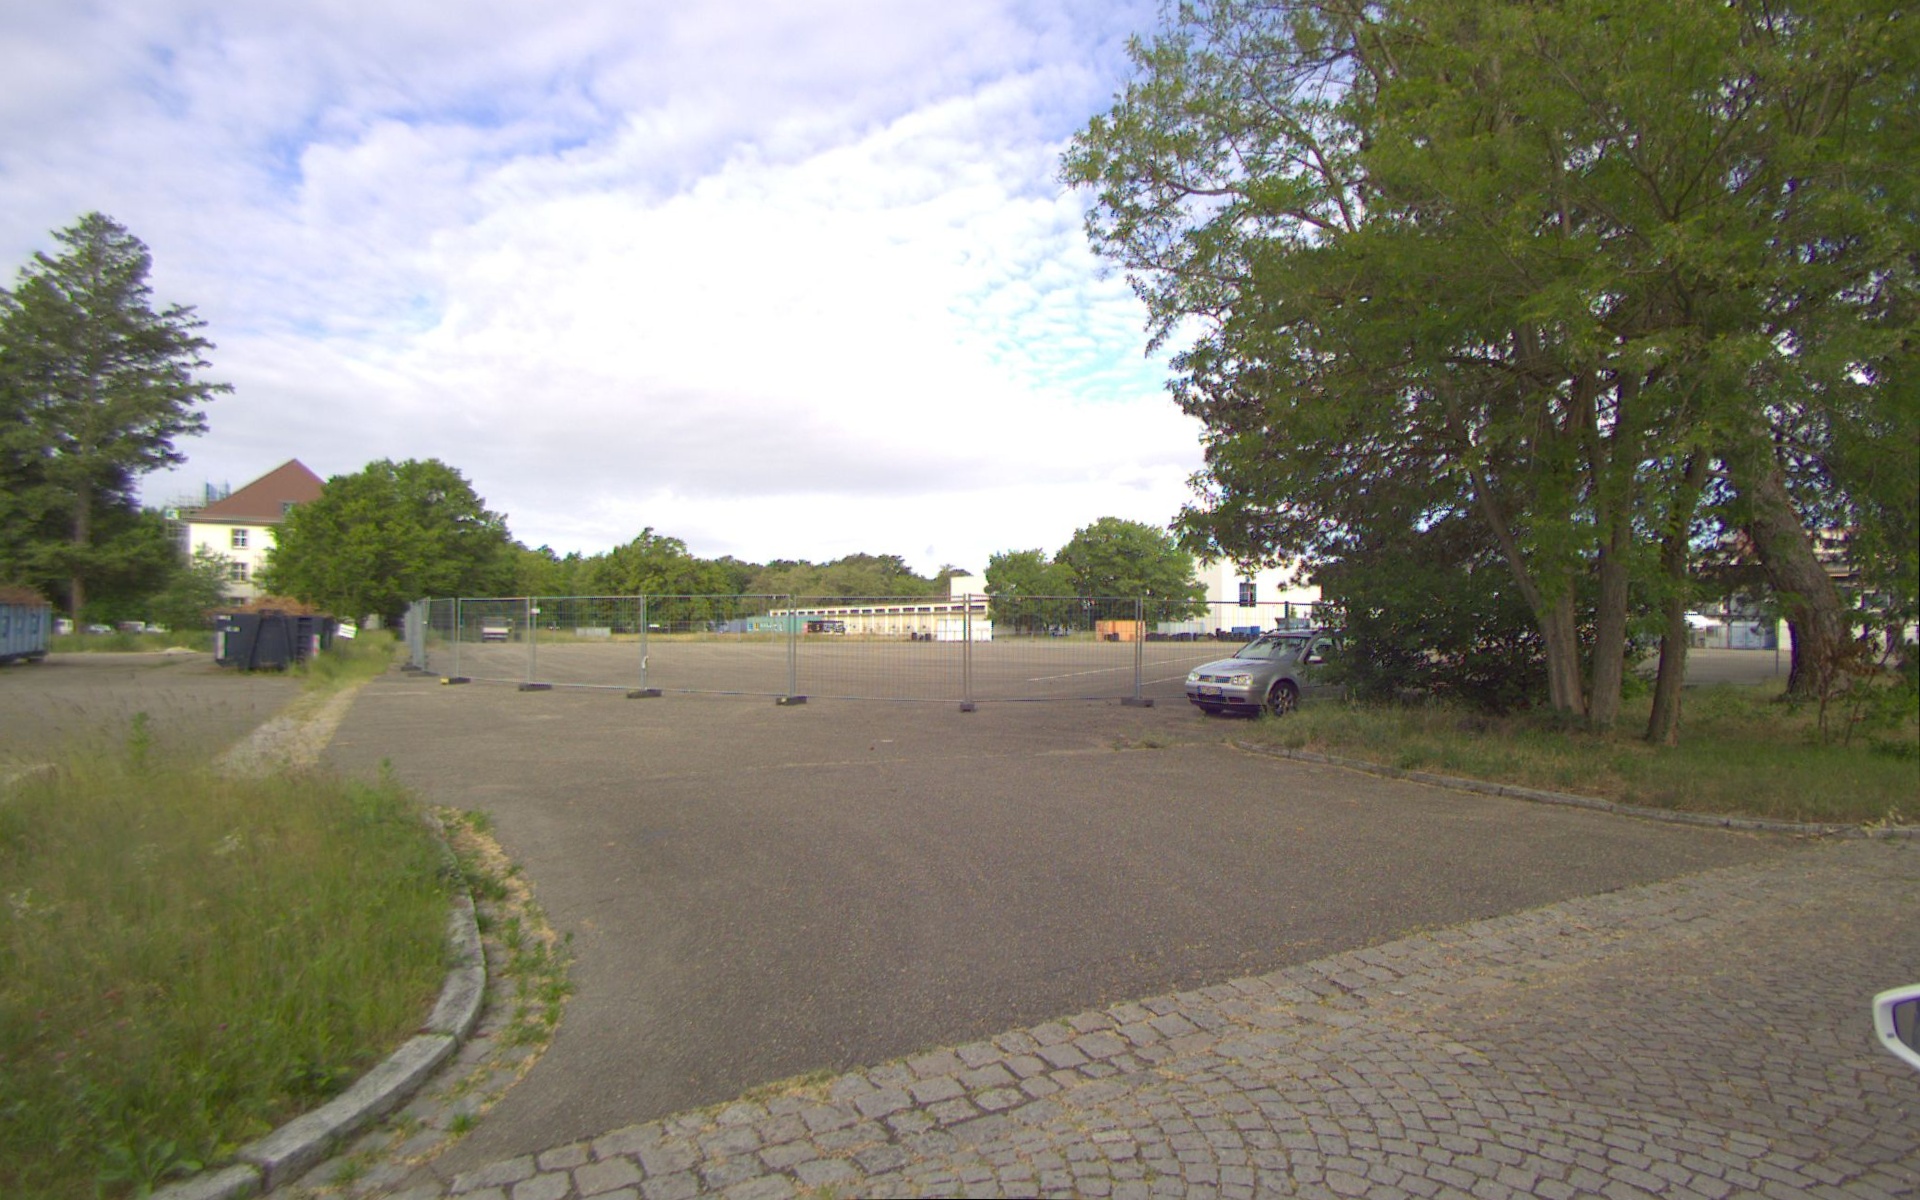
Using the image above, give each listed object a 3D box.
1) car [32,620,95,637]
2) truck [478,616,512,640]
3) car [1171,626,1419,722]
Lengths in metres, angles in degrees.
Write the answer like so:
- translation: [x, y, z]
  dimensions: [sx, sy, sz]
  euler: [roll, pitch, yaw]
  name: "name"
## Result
- translation: [-91.593, 2.905, 102.661]
  dimensions: [4.534, 1.654, 1.825]
  euler: [1, -1, -33]
  name: "car"
- translation: [-43.287, 2.587, 93.367]
  dimensions: [2.346, 2.227, 6.504]
  euler: [1, -1, -30]
  name: "truck"
- translation: [5.880, 1.199, 17.442]
  dimensions: [4.418, 1.457, 1.706]
  euler: [1, -1, -33]
  name: "car"
